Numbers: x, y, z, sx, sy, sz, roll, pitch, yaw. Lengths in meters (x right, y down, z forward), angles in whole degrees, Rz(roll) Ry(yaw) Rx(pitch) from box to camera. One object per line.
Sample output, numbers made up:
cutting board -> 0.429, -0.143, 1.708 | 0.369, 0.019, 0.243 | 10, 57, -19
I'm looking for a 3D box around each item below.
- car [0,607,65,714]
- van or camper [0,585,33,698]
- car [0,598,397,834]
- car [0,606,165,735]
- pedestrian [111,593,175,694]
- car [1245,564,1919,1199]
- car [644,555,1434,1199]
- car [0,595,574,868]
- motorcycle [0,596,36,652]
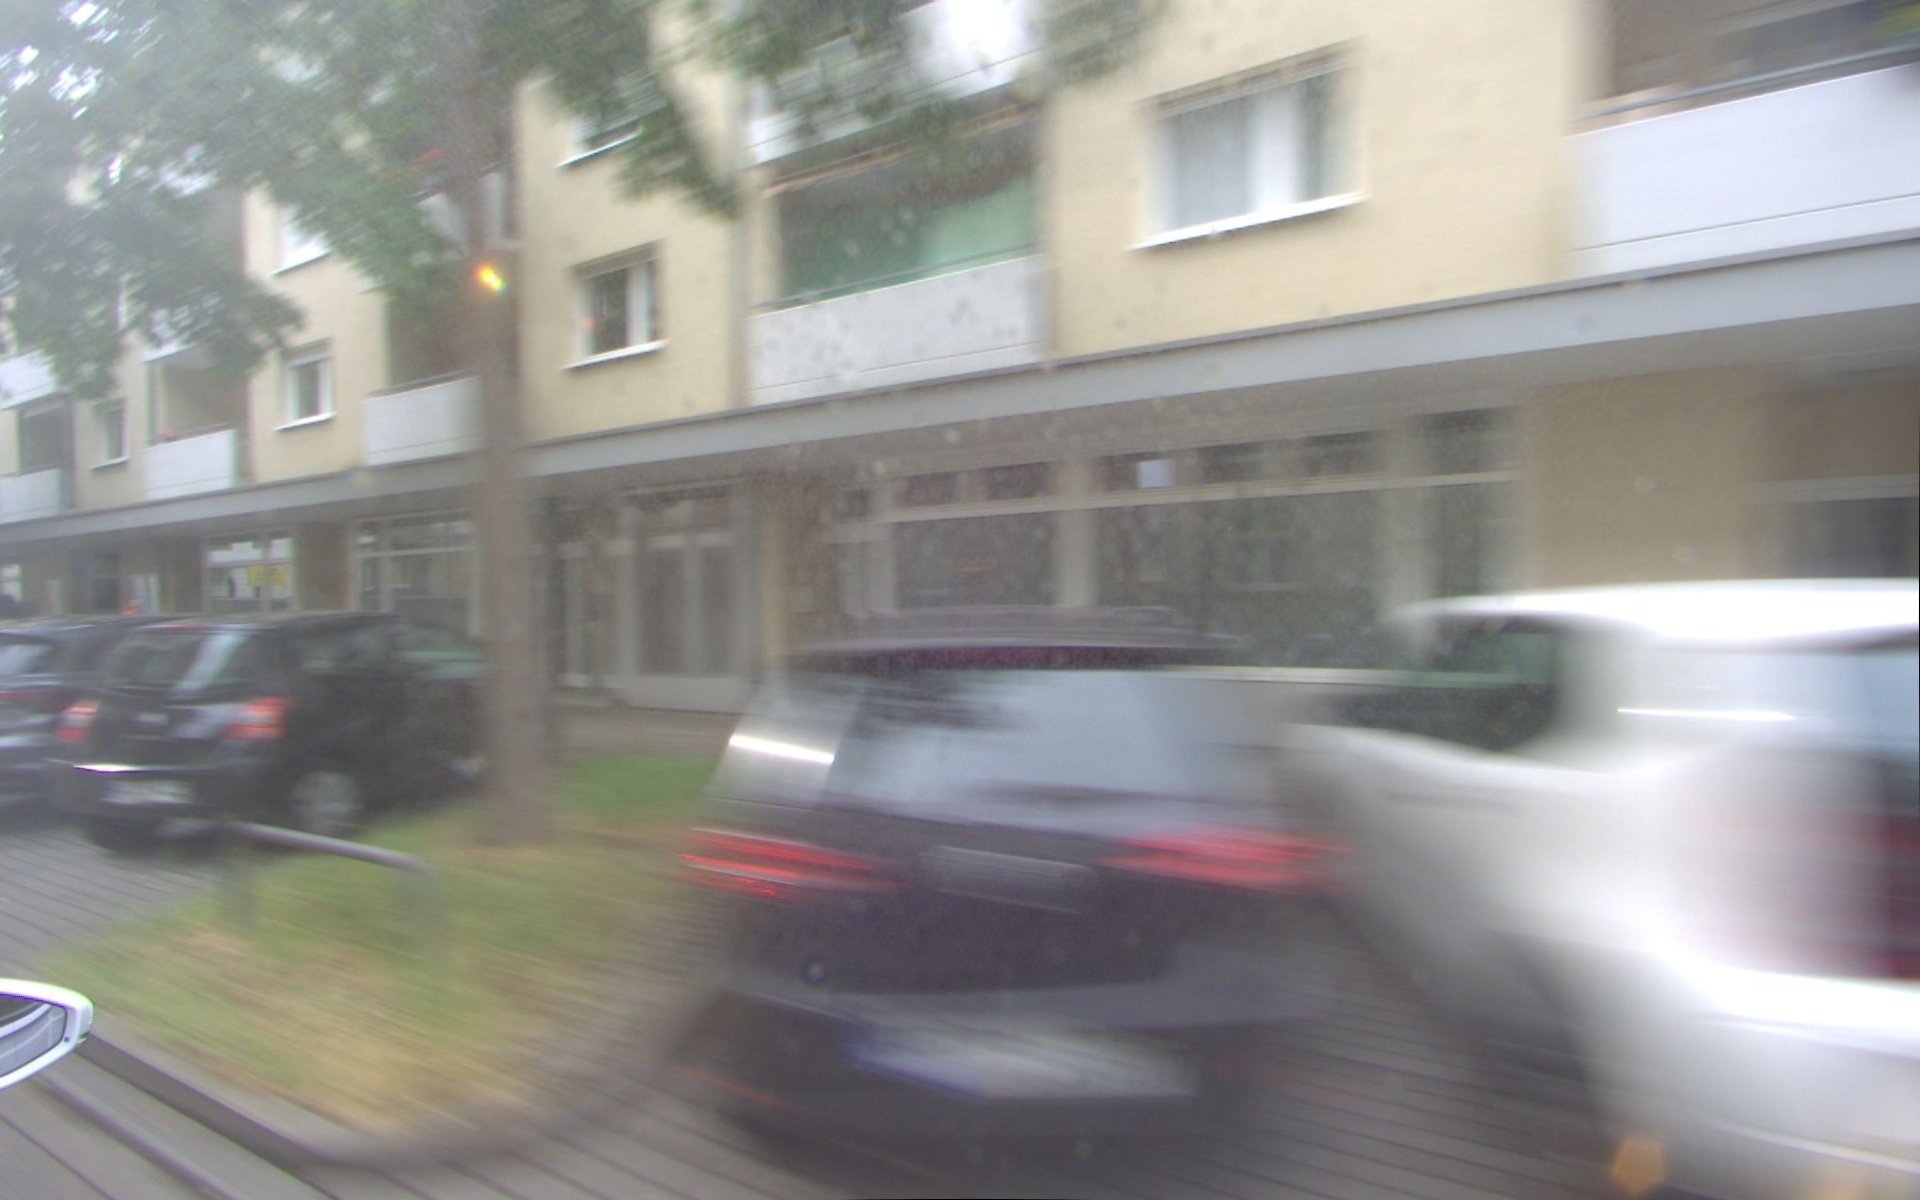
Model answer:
car -> -14.823, 0.907, 13.525 | 1.876, 1.522, 3.861 | -1, 0, 2
van or camper -> -17.256, 0.748, 14.853 | 2.086, 1.894, 5.020 | -1, 1, 4
car -> -7.217, 0.804, 8.860 | 1.937, 1.521, 4.225 | -2, 1, 2
car -> -12.322, 0.863, 12.122 | 1.910, 1.503, 4.051 | -1, 0, 6
pedestrian -> -14.692, 0.768, 18.009 | 0.837, 1.765, 0.623 | 0, 1, 32
car -> 2.403, 0.676, 3.622 | 1.789, 1.485, 3.914 | -1, 0, 3
car -> 0.137, 0.648, 4.374 | 1.817, 1.461, 4.113 | -1, 0, -2
car -> -4.659, 0.764, 7.480 | 1.817, 1.517, 3.368 | -2, 1, 9
motorcycle -> -23.918, 0.588, 24.951 | 2.220, 1.319, 0.676 | -1, 2, 31
